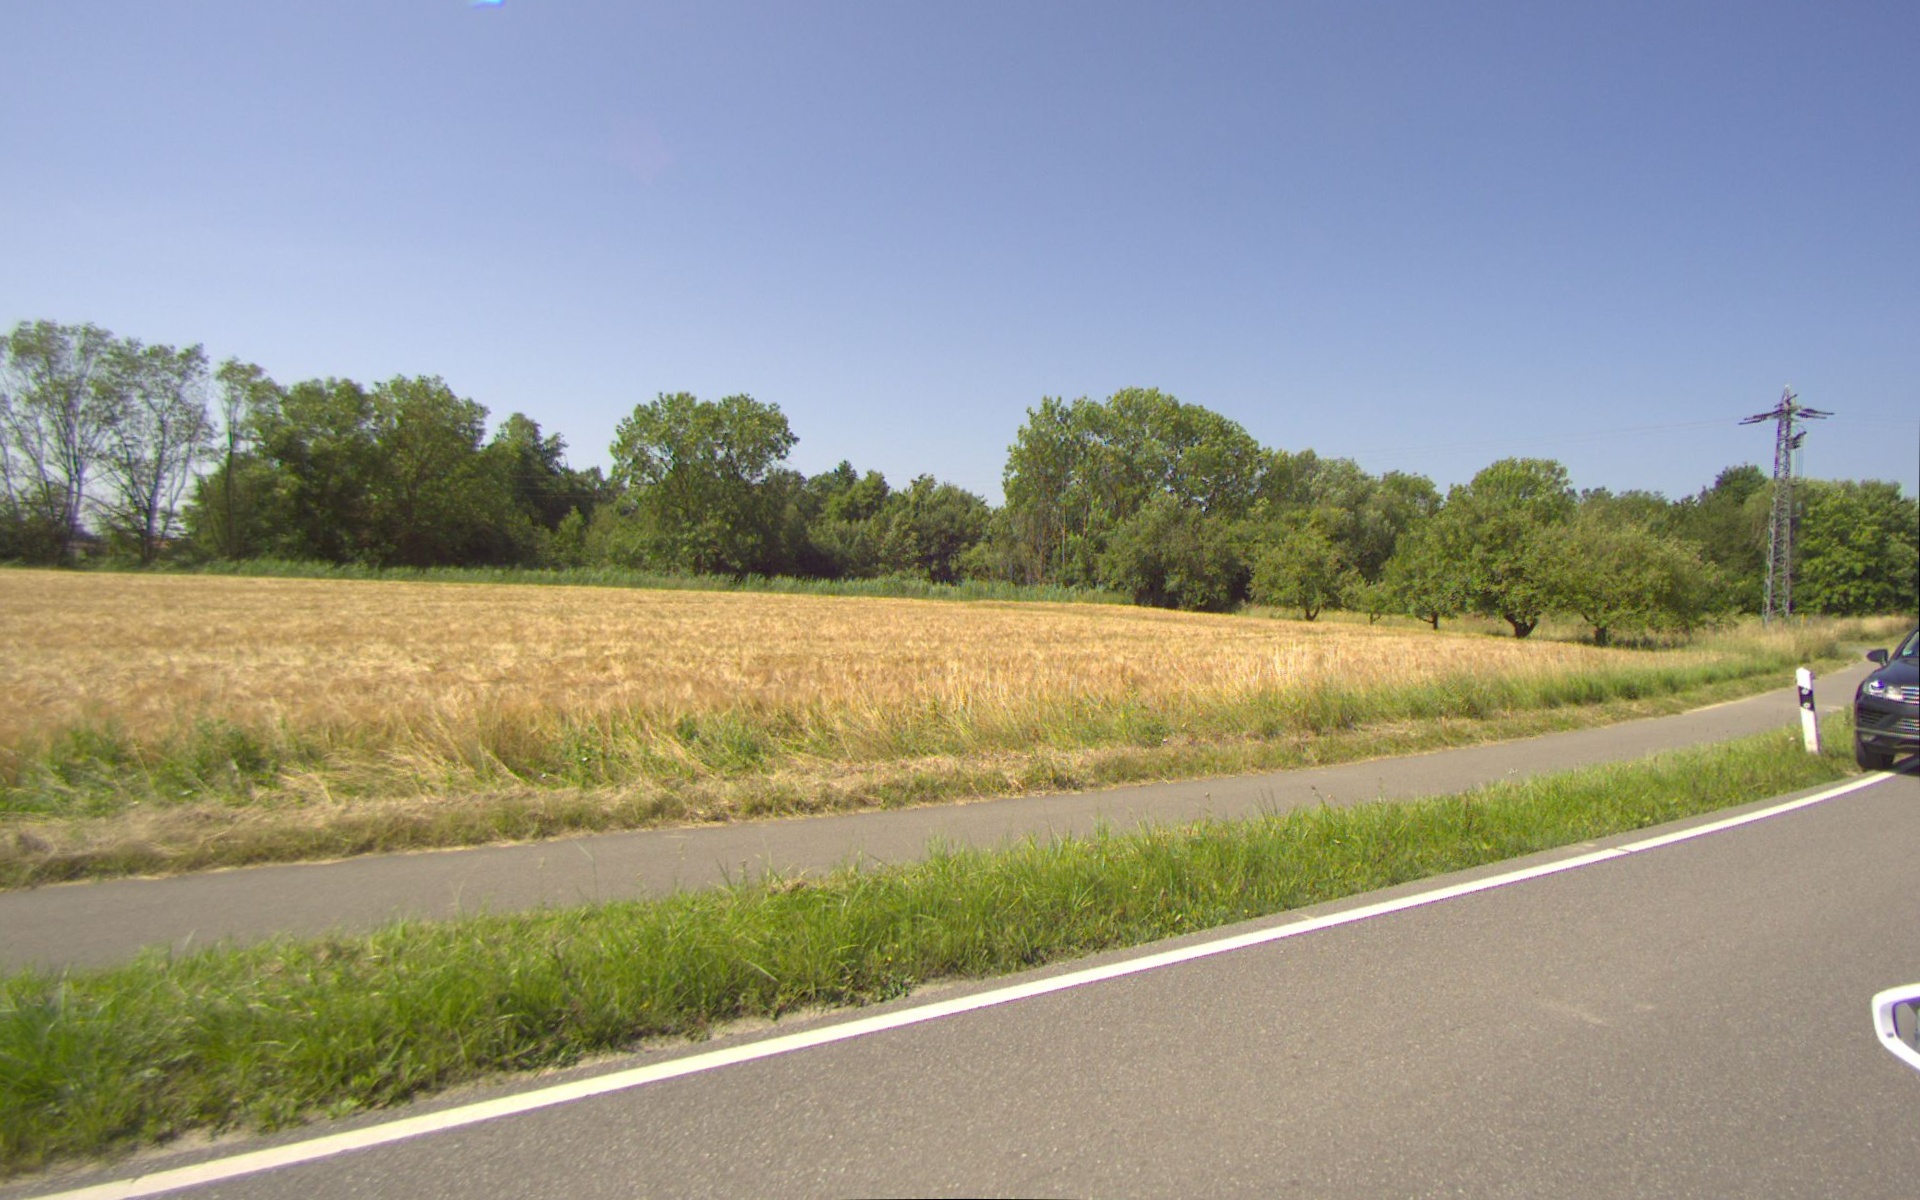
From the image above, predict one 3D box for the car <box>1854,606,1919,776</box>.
[{"bbox_3d":[11.684,0.977,11.270,3.980,1.738,1.871,1,0,-40],"label":"car"}]
